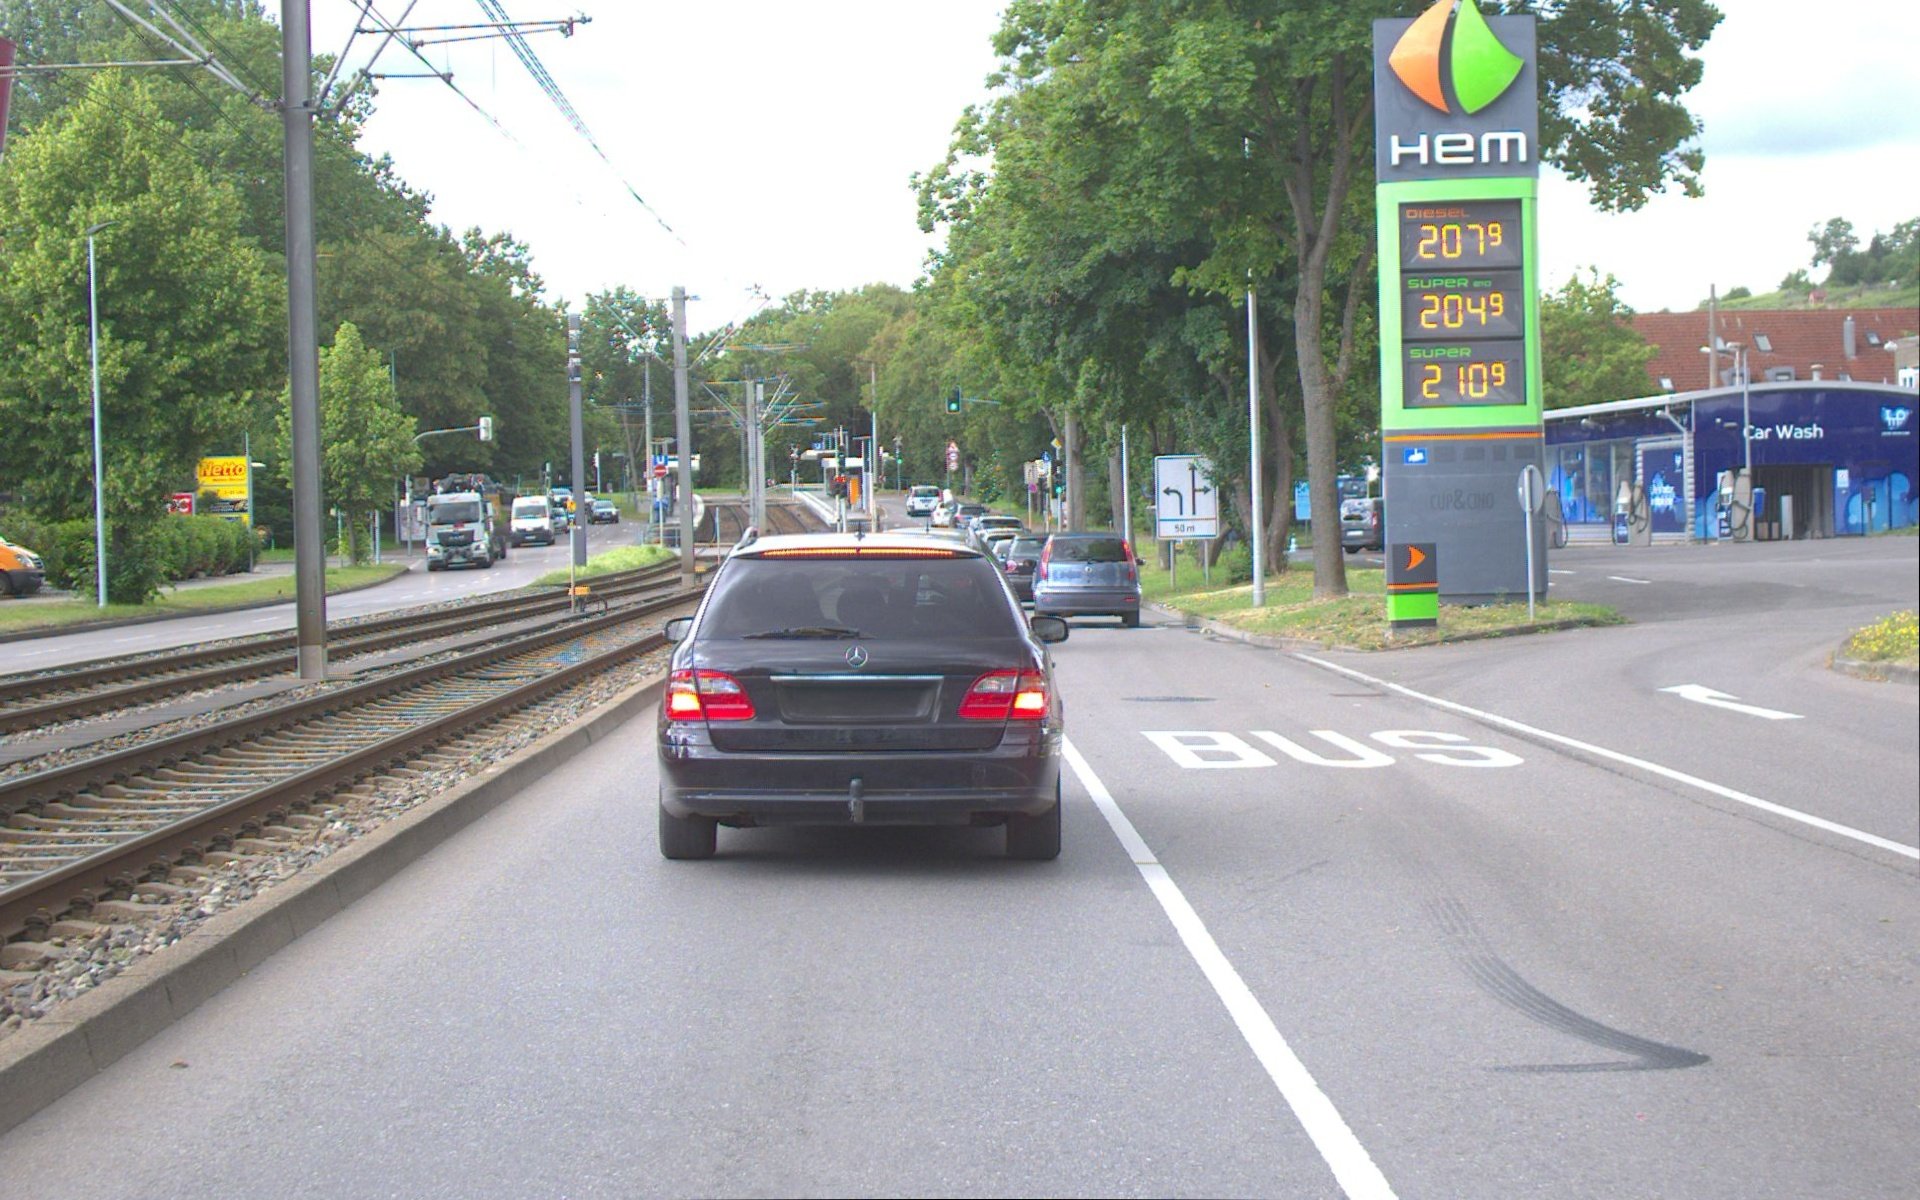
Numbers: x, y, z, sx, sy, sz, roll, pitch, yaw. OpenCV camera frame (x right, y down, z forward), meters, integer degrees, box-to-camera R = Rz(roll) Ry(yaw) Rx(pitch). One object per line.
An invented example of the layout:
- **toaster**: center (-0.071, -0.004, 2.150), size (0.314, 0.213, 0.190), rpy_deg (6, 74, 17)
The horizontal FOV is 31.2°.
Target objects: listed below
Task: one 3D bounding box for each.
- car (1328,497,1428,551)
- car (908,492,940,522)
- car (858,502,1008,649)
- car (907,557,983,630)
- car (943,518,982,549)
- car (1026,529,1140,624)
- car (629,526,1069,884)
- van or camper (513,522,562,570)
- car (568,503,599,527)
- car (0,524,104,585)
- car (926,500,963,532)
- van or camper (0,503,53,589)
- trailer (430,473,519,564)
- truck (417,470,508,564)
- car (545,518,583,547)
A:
- **car**: center (13.834, -2.533, 113.569), size (2.008, 1.677, 4.574), rpy_deg (-1, 1, 24)
- **car**: center (-2.259, -5.805, 214.394), size (1.993, 1.831, 4.000), rpy_deg (0, 1, -1)
- **car**: center (-0.348, -0.311, 42.989), size (1.780, 1.744, 3.718), rpy_deg (1, 1, -1)
- **car**: center (-0.311, -0.144, 68.385), size (1.466, 1.410, 3.354), rpy_deg (1, 1, -1)
- **car**: center (0.108, -3.332, 172.070), size (1.666, 1.527, 3.771), rpy_deg (0, 1, -4)
- **car**: center (1.878, -0.365, 53.244), size (1.571, 1.410, 3.354), rpy_deg (1, 1, -1)
- **car**: center (-0.480, 0.393, 16.079), size (1.808, 1.469, 3.881), rpy_deg (0, 1, -1)
- **van or camper**: center (-21.391, -2.733, 174.225), size (1.993, 2.346, 5.766), rpy_deg (-2, 1, -3)
- **car**: center (-26.592, -6.007, 242.792), size (1.765, 1.641, 3.771), rpy_deg (0, 1, -1)
- **car**: center (-25.778, -1.250, 94.741), size (3.986, 1.594, 1.797), rpy_deg (-2, 1, -5)
- **car**: center (-0.859, -4.698, 191.687), size (1.993, 1.708, 4.000), rpy_deg (-1, 1, -1)
- **van or camper**: center (-24.942, -1.357, 86.156), size (3.986, 2.127, 1.878), rpy_deg (0, 1, -5)
- **trailer**: center (-20.861, -3.474, 148.364), size (2.704, 3.648, 13.301), rpy_deg (-2, 1, -4)
- **truck**: center (-20.455, -3.377, 141.906), size (2.706, 3.651, 11.114), rpy_deg (-2, 1, -4)
- **car**: center (-22.975, -3.909, 199.518), size (1.765, 1.641, 3.771), rpy_deg (0, 1, -1)
